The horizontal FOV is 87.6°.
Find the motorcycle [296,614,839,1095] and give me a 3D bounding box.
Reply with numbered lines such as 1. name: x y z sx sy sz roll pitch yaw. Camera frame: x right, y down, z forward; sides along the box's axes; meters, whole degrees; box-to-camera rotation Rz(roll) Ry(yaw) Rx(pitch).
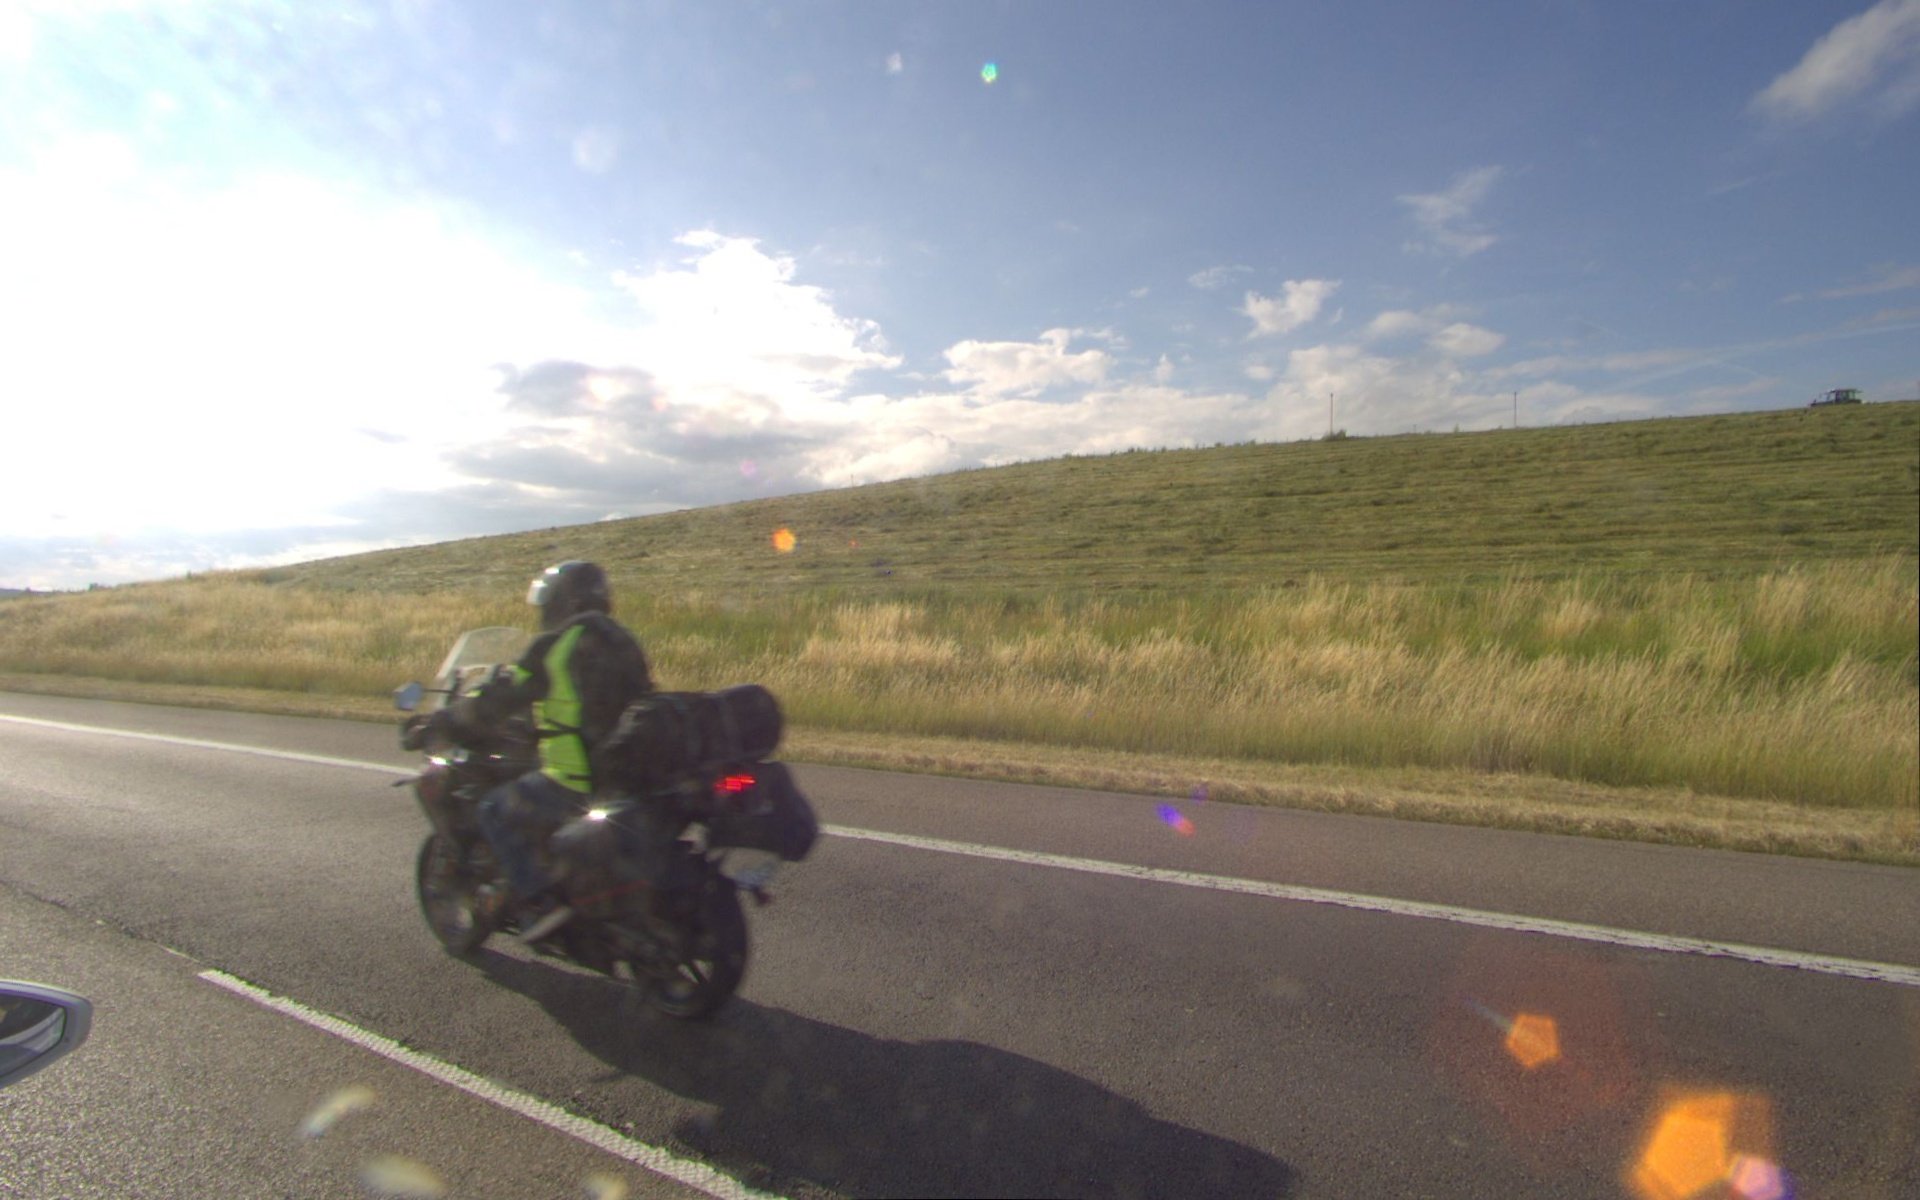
1. motorcycle: -1.647 0.814 4.054 2.237 1.474 0.894 -1 -1 32

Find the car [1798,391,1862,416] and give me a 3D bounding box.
1. car: 78.051 -17.618 89.885 3.926 1.566 1.708 -1 -1 13

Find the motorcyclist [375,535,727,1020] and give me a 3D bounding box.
1. motorcyclist: -1.632 0.618 4.039 1.007 1.638 0.894 -1 -1 32
